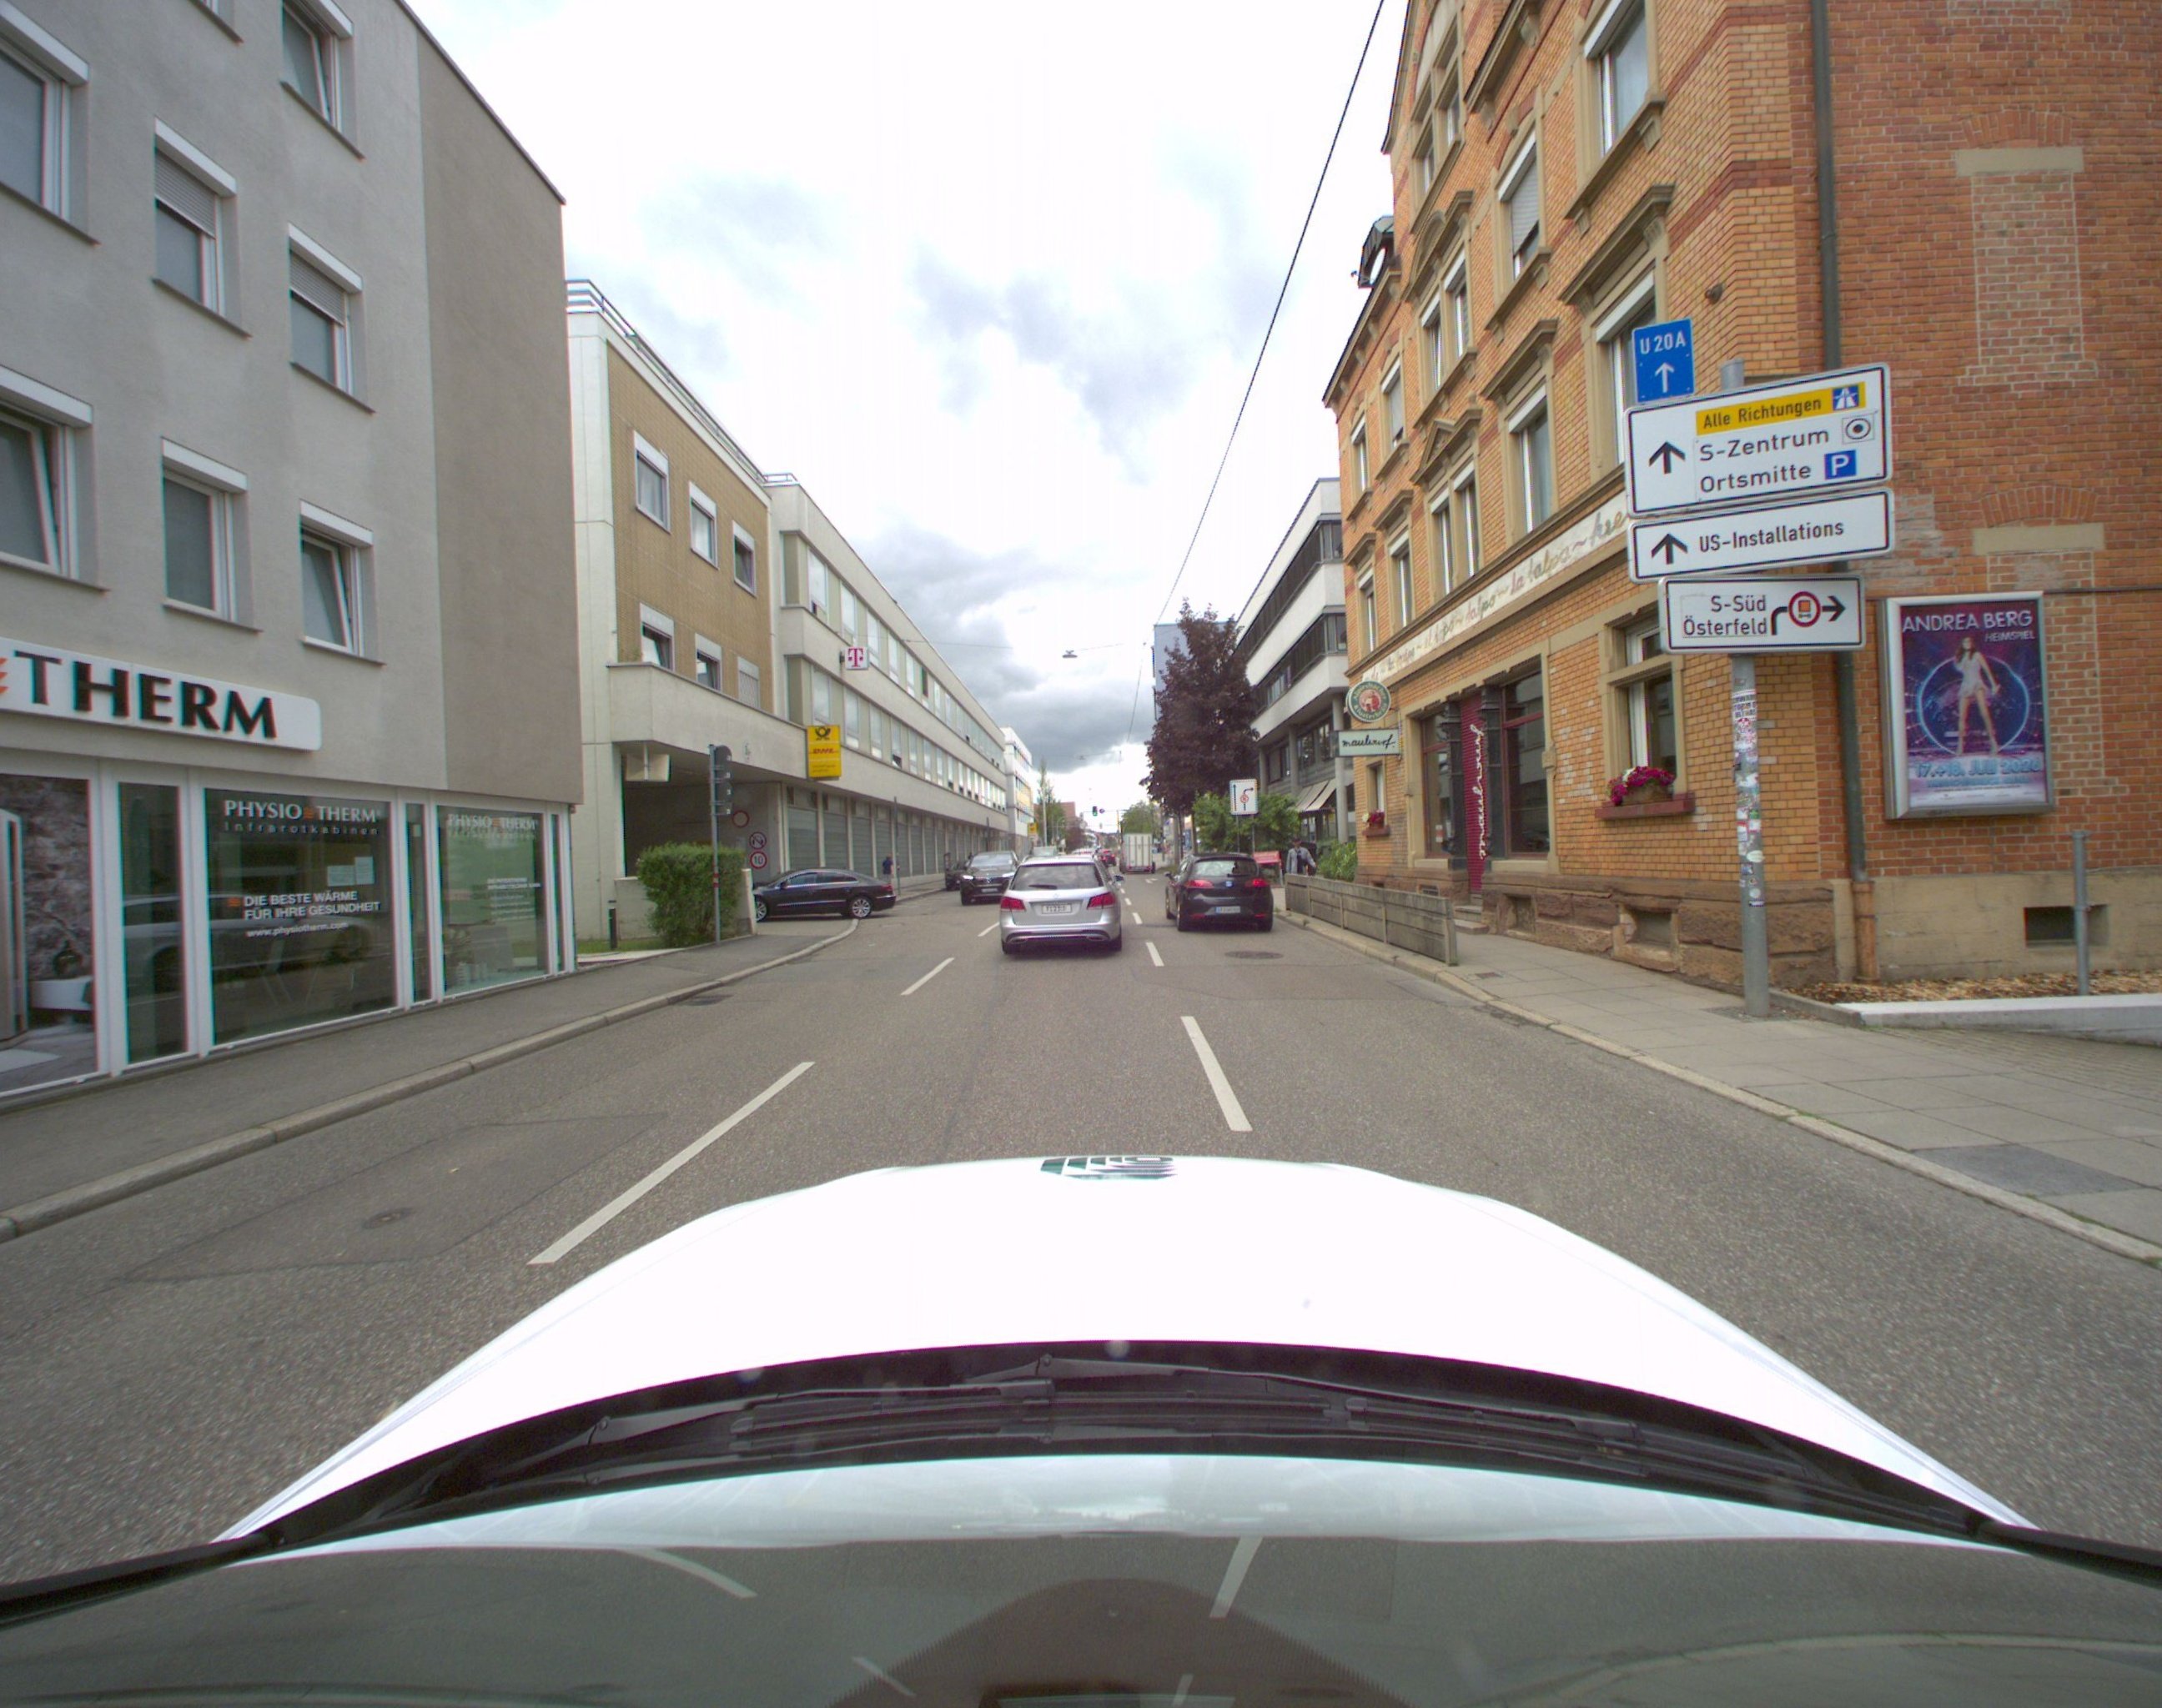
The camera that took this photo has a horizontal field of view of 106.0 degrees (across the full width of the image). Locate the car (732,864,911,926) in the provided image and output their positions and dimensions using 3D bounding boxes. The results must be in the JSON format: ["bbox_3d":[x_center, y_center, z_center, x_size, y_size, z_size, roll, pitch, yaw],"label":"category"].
[{"bbox_3d":[-7.094,1.055,22.377,4.424,1.365,1.769,-2,0,-28],"label":"car"}]

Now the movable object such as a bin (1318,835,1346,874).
[{"bbox_3d":[10.158,0.033,32.949,0.818,1.490,0.732,-5,-1,2],"label":"movable object such as a bin"}]

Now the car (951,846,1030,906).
[{"bbox_3d":[-2.957,0.669,27.692,1.987,1.738,4.554,-4,0,1],"label":"car"}]

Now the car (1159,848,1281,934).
[{"bbox_3d":[2.614,0.631,16.144,1.760,1.433,3.828,-2,0,0],"label":"car"}]

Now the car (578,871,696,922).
[{"bbox_3d":[-14.530,1.349,26.894,1.747,1.457,3.692,-1,0,2],"label":"car"}]

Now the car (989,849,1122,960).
[{"bbox_3d":[-0.327,0.698,13.273,1.797,1.492,3.738,-2,0,1],"label":"car"}]

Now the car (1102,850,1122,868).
[{"bbox_3d":[2.900,0.430,76.343,1.797,1.601,3.738,-1,0,1],"label":"car"}]

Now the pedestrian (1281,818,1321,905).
[{"bbox_3d":[5.251,0.174,19.468,0.691,2.013,0.676,-2,0,0],"label":"pedestrian"}]

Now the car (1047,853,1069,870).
[{"bbox_3d":[-2.125,0.662,75.169,1.763,1.413,4.175,-4,0,1],"label":"car"}]

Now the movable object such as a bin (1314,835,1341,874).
[{"bbox_3d":[10.186,0.026,33.707,0.818,1.504,0.732,-5,-1,2],"label":"movable object such as a bin"}]

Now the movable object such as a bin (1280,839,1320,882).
[{"bbox_3d":[7.936,0.232,29.600,0.940,1.470,1.445,-4,0,-1],"label":"movable object such as a bin"}]

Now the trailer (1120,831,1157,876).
[{"bbox_3d":[3.590,-0.046,51.670,1.986,2.607,5.350,-2,0,1],"label":"trailer"}]

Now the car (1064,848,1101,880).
[{"bbox_3d":[0.106,0.493,42.549,1.797,1.601,3.738,-1,0,1],"label":"car"}]

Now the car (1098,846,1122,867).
[{"bbox_3d":[2.219,0.197,64.083,1.797,1.601,3.738,-1,0,1],"label":"car"}]

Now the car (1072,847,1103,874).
[{"bbox_3d":[0.442,0.383,50.267,1.797,1.601,3.738,-1,0,1],"label":"car"}]

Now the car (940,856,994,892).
[{"bbox_3d":[-5.559,0.929,40.078,1.906,1.516,4.175,-4,0,1],"label":"car"}]

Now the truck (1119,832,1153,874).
[{"bbox_3d":[3.647,-0.068,54.434,1.987,2.607,3.261,-2,0,1],"label":"truck"}]

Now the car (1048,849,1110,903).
[{"bbox_3d":[-0.018,0.663,26.366,1.797,1.553,3.738,-2,0,1],"label":"car"}]

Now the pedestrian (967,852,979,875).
[{"bbox_3d":[-7.948,0.689,59.977,0.653,1.623,0.681,-2,0,2],"label":"pedestrian"}]

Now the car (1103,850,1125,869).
[{"bbox_3d":[2.823,0.472,71.062,1.797,1.601,3.738,-1,0,1],"label":"car"}]

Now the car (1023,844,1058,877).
[{"bbox_3d":[-2.694,0.389,55.350,1.987,2.013,4.903,-3,0,1],"label":"car"}]

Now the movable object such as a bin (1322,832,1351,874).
[{"bbox_3d":[10.103,-0.033,32.195,0.818,1.589,0.732,-5,-1,2],"label":"movable object such as a bin"}]

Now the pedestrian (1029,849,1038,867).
[{"bbox_3d":[-5.233,0.458,89.320,0.915,1.869,0.783,-2,0,0],"label":"pedestrian"}]

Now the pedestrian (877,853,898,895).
[{"bbox_3d":[-8.245,0.842,34.667,0.640,1.769,0.810,-2,0,1],"label":"pedestrian"}]
